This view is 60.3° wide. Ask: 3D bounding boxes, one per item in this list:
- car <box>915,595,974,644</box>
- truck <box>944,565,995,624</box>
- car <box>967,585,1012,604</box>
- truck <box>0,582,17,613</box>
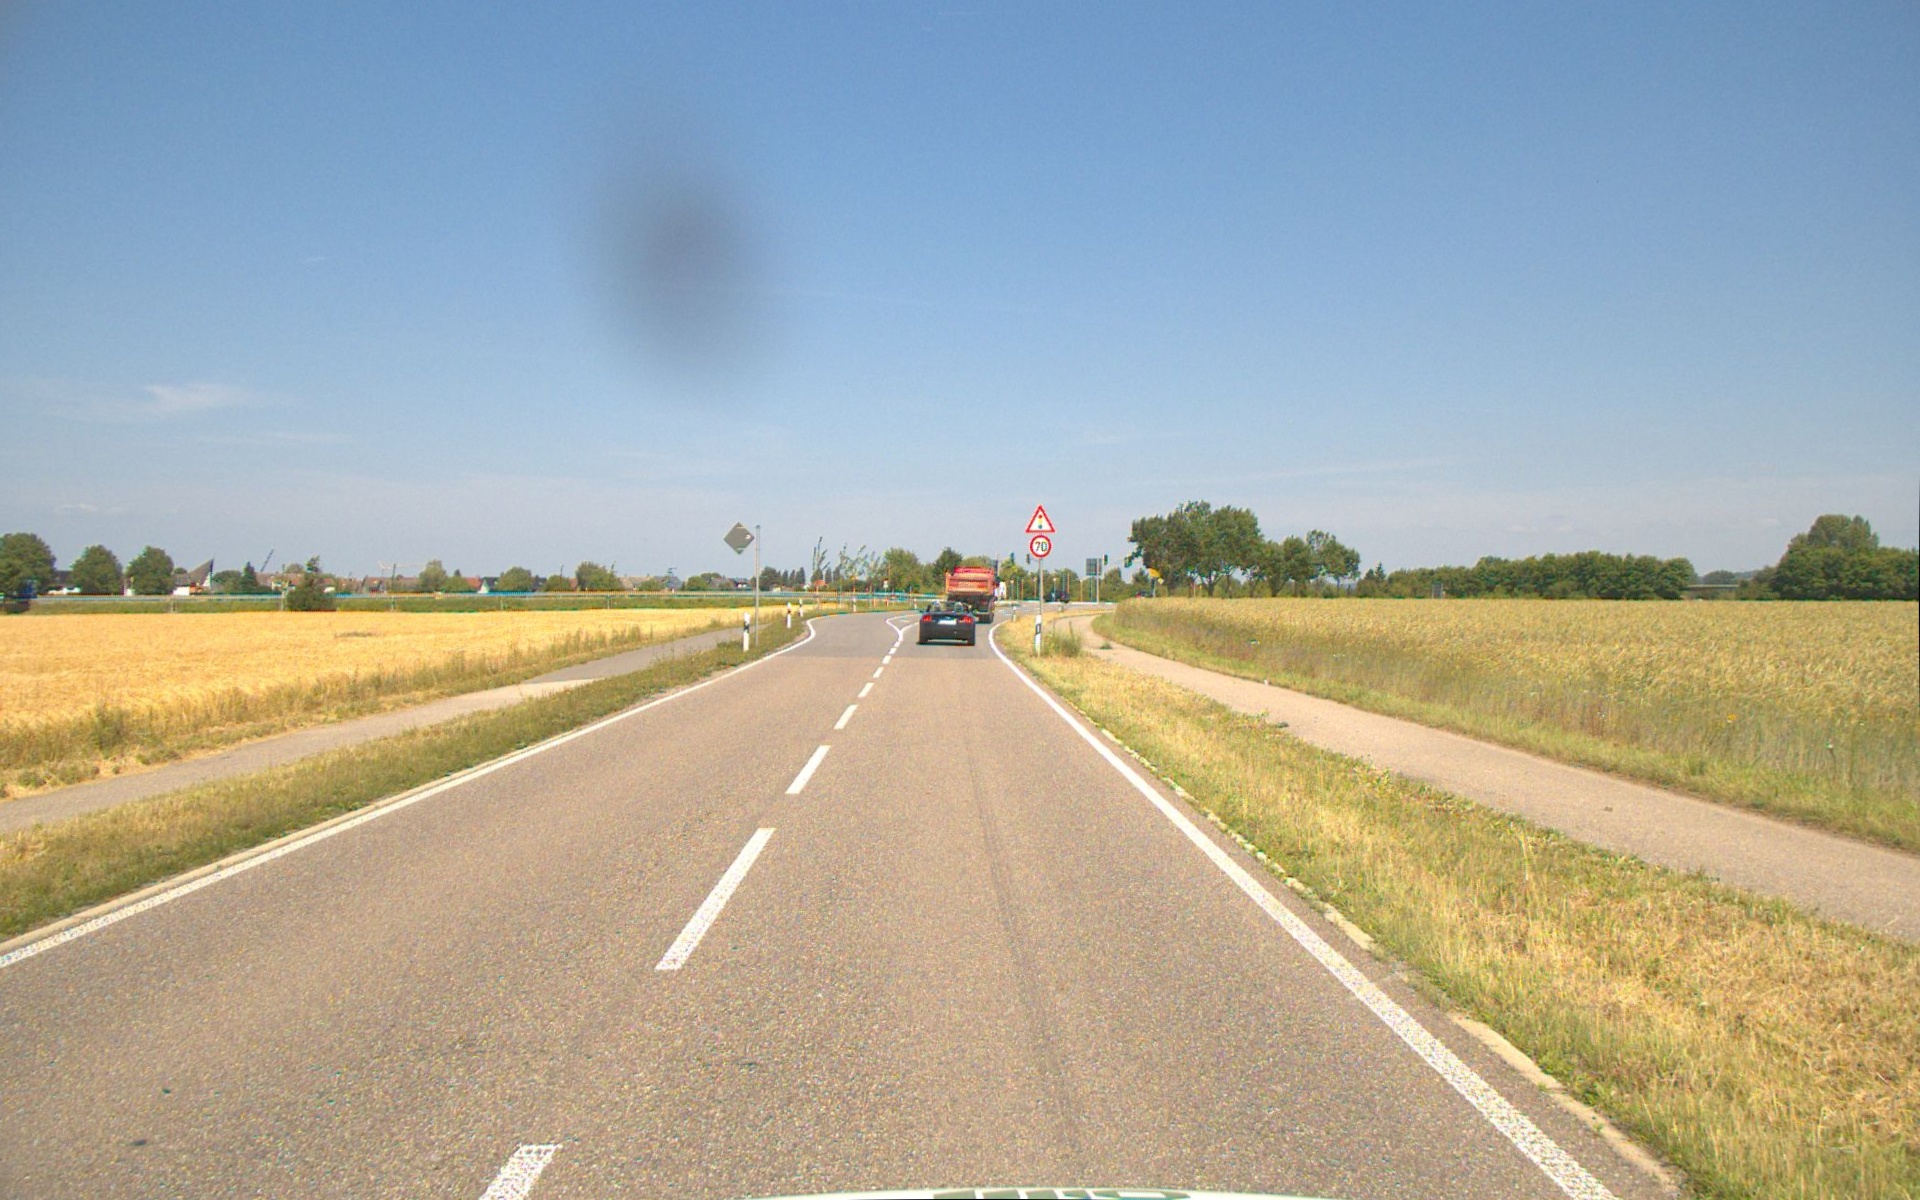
[{"bbox_3d":[-0.482,0.609,51.111,1.712,1.400,3.678,2,-1,-1],"label":"car"},{"bbox_3d":[0.608,-0.245,93.800,2.658,3.106,8.165,1,-1,1],"label":"truck"},{"bbox_3d":[3.926,-0.766,220.612,5.792,2.464,2.249,1,0,7],"label":"car"},{"bbox_3d":[-125.936,-0.395,210.410,9.931,3.859,2.611,1,0,-20],"label":"truck"}]
